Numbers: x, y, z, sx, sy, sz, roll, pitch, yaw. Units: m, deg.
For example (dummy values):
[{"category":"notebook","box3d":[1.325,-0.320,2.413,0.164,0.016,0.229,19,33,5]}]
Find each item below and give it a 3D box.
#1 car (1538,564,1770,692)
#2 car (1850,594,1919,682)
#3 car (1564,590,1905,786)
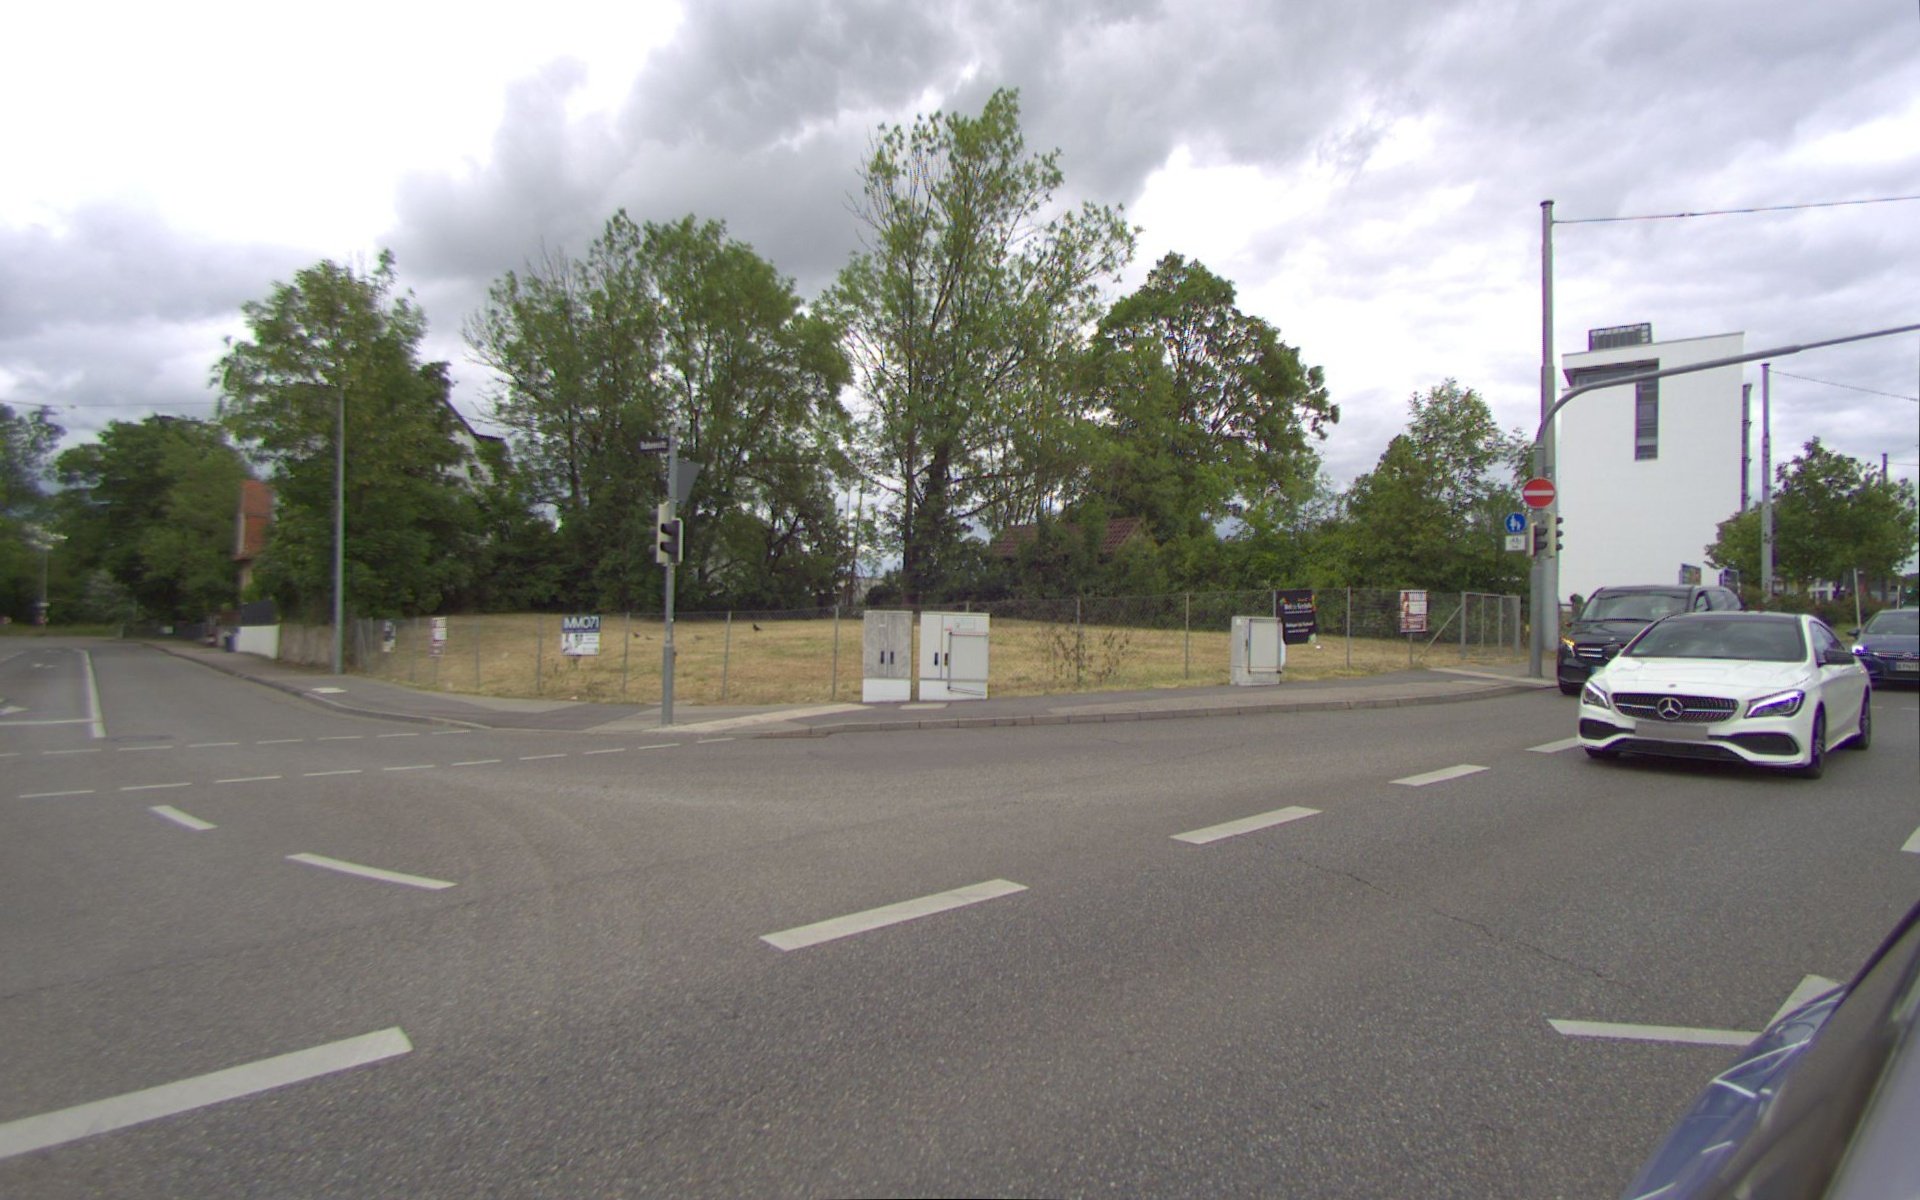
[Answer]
[{"category":"car","box3d":[12.063,0.378,17.474,4.787,1.911,2.015,-1,1,-39]},{"category":"car","box3d":[17.855,0.629,18.494,4.235,1.491,1.797,-1,0,-41]},{"category":"car","box3d":[7.853,0.666,10.082,4.617,1.491,1.797,-1,1,-41]}]
